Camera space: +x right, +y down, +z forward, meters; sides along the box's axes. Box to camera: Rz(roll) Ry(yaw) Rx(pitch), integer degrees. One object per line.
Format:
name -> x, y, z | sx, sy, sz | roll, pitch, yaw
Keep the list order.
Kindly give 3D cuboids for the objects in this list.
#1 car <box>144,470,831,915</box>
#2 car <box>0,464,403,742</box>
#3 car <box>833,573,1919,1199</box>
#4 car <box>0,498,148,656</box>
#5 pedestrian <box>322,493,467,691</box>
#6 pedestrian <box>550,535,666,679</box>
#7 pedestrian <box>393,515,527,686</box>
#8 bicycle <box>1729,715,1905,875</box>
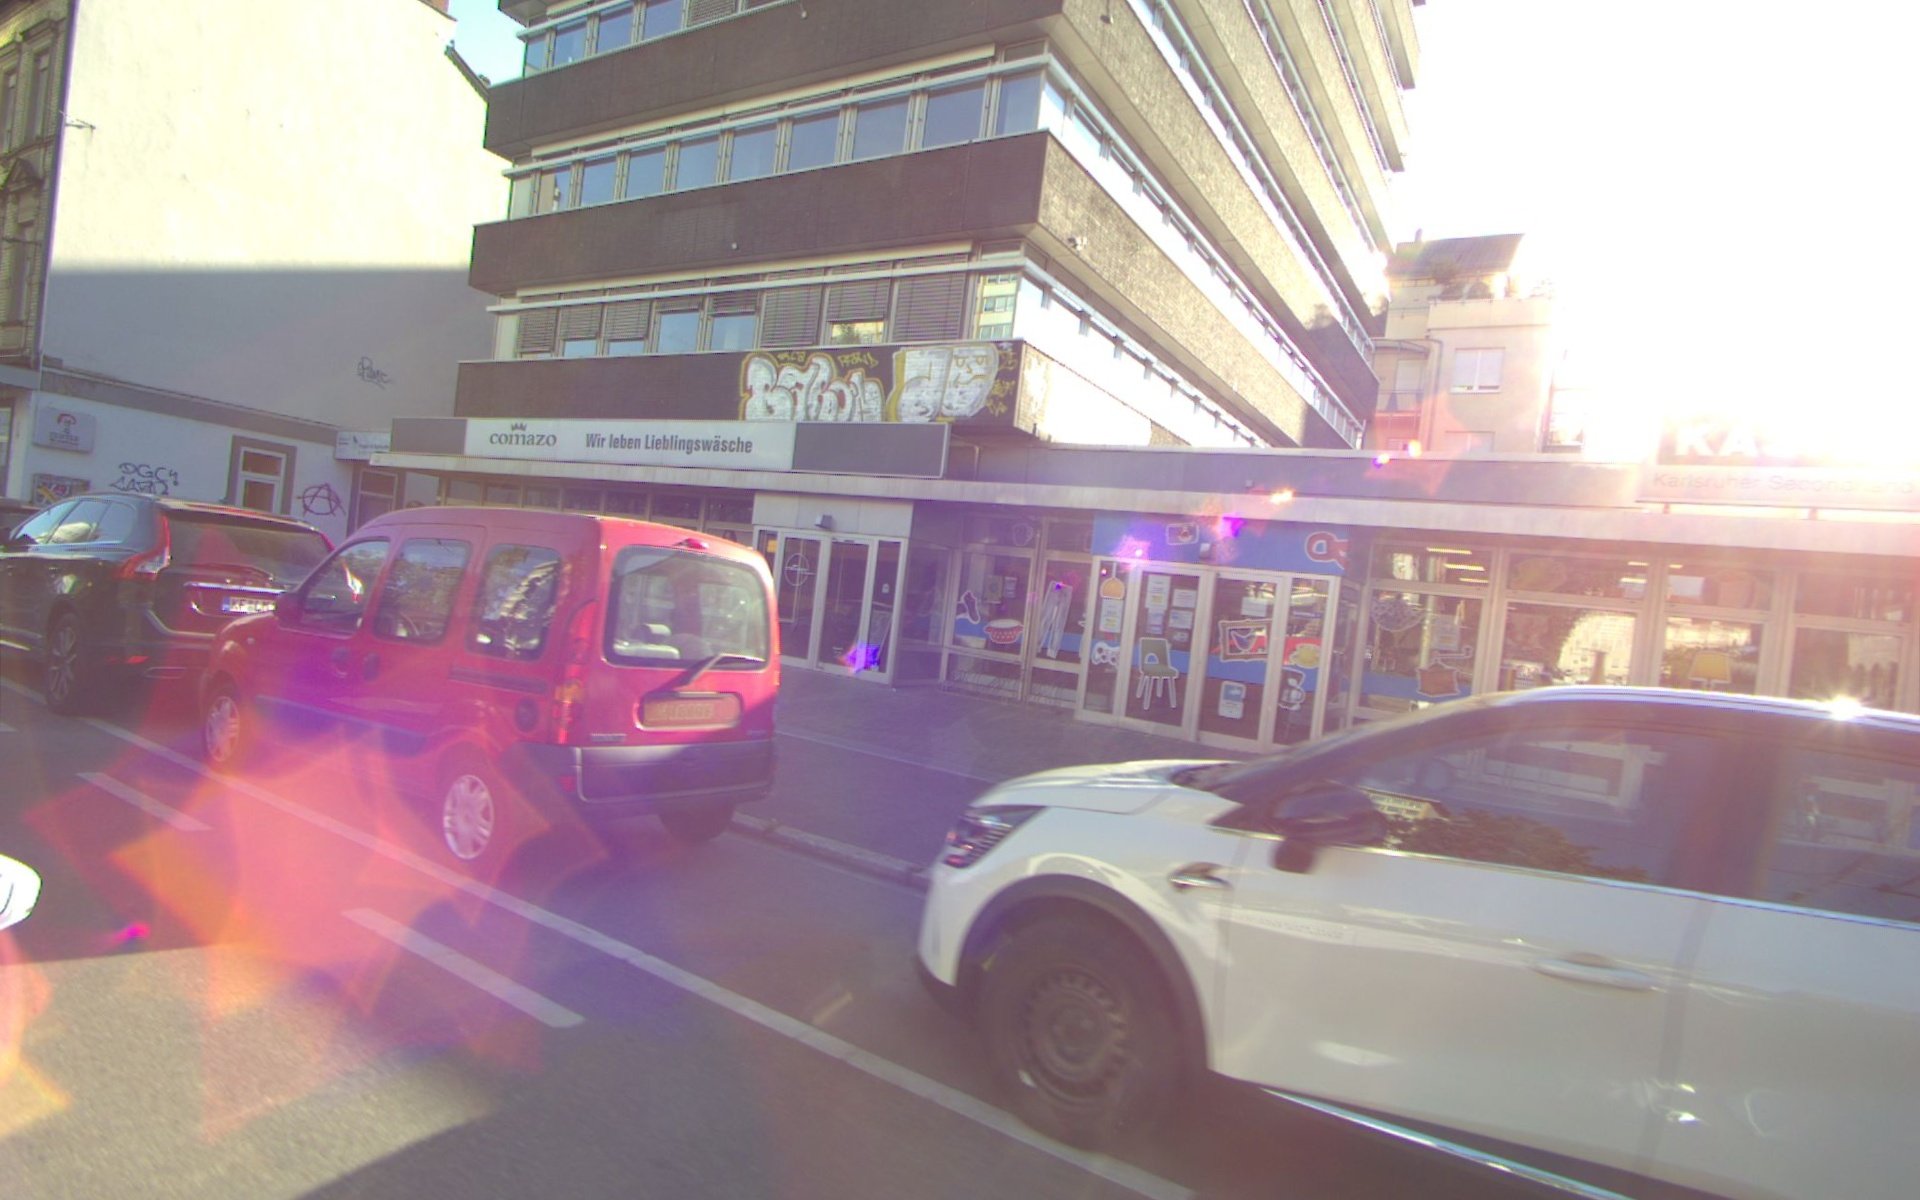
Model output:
car -> -3.043, 0.327, 6.194 | 4.178, 1.830, 1.677 | 7, 0, 32
car -> -6.973, -0.086, 8.616 | 4.401, 1.778, 1.823 | 7, -1, 32
car -> 1.903, 1.013, 3.061 | 4.256, 1.615, 1.789 | 7, -1, 33
car -> -11.241, -0.416, 11.583 | 3.731, 1.510, 1.641 | 8, -1, 31
pedestrian -> -5.923, -0.084, 10.546 | 1.016, 1.924, 0.794 | 7, 2, 32
pedestrian -> -4.622, 0.087, 13.213 | 1.016, 1.737, 0.900 | 7, 3, 32
pedestrian -> -5.656, 0.007, 11.376 | 1.016, 1.779, 0.811 | 7, 2, 32
bicycle -> 7.965, 1.749, 9.455 | 0.626, 1.110, 2.017 | 7, 2, 25
